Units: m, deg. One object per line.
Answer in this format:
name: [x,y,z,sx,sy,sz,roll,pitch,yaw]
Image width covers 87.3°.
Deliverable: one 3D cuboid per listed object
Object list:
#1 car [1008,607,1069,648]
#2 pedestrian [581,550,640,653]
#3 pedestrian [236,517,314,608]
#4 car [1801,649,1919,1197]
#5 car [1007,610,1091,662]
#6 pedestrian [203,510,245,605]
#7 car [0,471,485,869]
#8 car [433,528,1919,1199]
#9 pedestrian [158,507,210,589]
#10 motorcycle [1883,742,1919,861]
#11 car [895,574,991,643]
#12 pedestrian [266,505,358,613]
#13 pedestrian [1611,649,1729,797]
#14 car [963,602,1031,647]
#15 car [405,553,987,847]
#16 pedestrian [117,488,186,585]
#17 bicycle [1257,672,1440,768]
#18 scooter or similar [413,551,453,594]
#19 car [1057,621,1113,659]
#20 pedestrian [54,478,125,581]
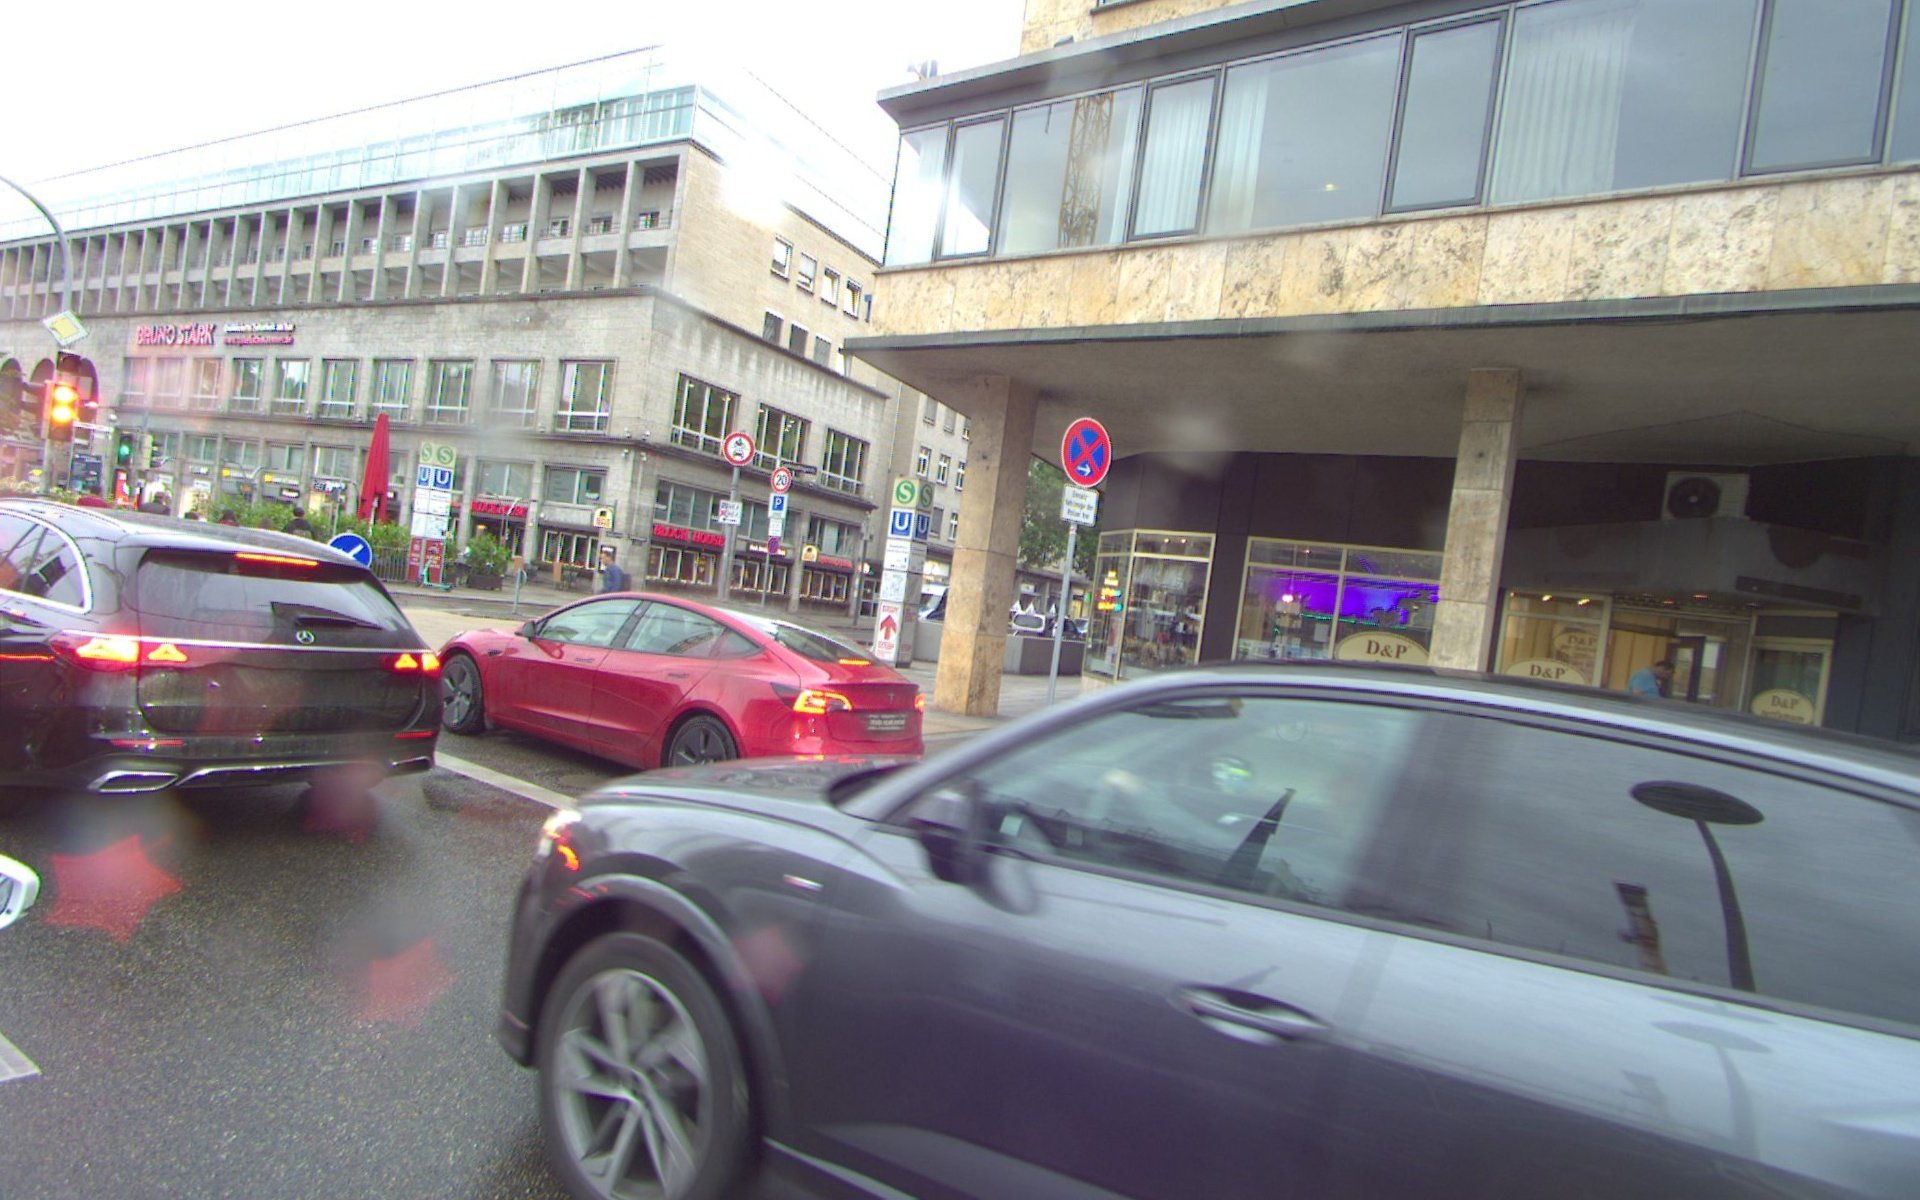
car: [5.002,1.762,63.422,1.966,2.065,4.483,7,-2,29]
pedestrian: [-6.377,0.034,18.365,0.768,1.777,0.503,8,-1,-15]
pedestrian: [-13.487,-0.732,19.817,0.884,1.645,0.795,7,-1,28]
car: [5.952,1.418,3.012,4.853,1.942,1.878,6,-2,31]
car: [4.198,1.709,46.730,1.966,1.995,4.638,7,-1,29]
pedestrian: [-14.296,-0.824,19.544,0.477,1.774,0.661,5,2,-30]
car: [-4.991,0.157,5.841,4.553,1.519,1.796,6,-2,33]
car: [0.951,0.854,2.390,4.271,1.519,1.882,6,-2,32]
pedestrian: [-14.752,-0.984,19.134,0.627,1.444,0.485,8,-1,-36]
motorcycle: [11.128,2.274,10.496,2.074,1.232,0.567,6,-2,40]
car: [-0.768,0.518,51.522,1.965,2.792,6.187,7,-2,27]
pedestrian: [-11.501,-0.710,17.885,0.642,1.774,1.097,7,2,29]
pedestrian: [9.706,1.661,13.751,1.119,1.811,0.798,6,-1,39]
car: [2.199,1.466,58.437,1.966,2.065,4.557,7,-2,29]
car: [-2.240,0.657,8.165,4.451,1.503,1.878,6,-2,31]
pedestrian: [-15.591,-1.209,19.408,0.458,1.737,0.757,7,-1,28]
bicycle: [5.901,1.801,15.359,2.431,1.058,0.657,6,-1,32]
scooter or similar: [-16.383,-0.868,31.272,1.000,1.203,0.291,7,-1,13]
car: [8.771,2.827,70.250,1.966,2.065,4.832,7,-2,30]
pedestrian: [-15.914,-1.266,18.416,0.561,1.772,0.678,7,-1,-15]
